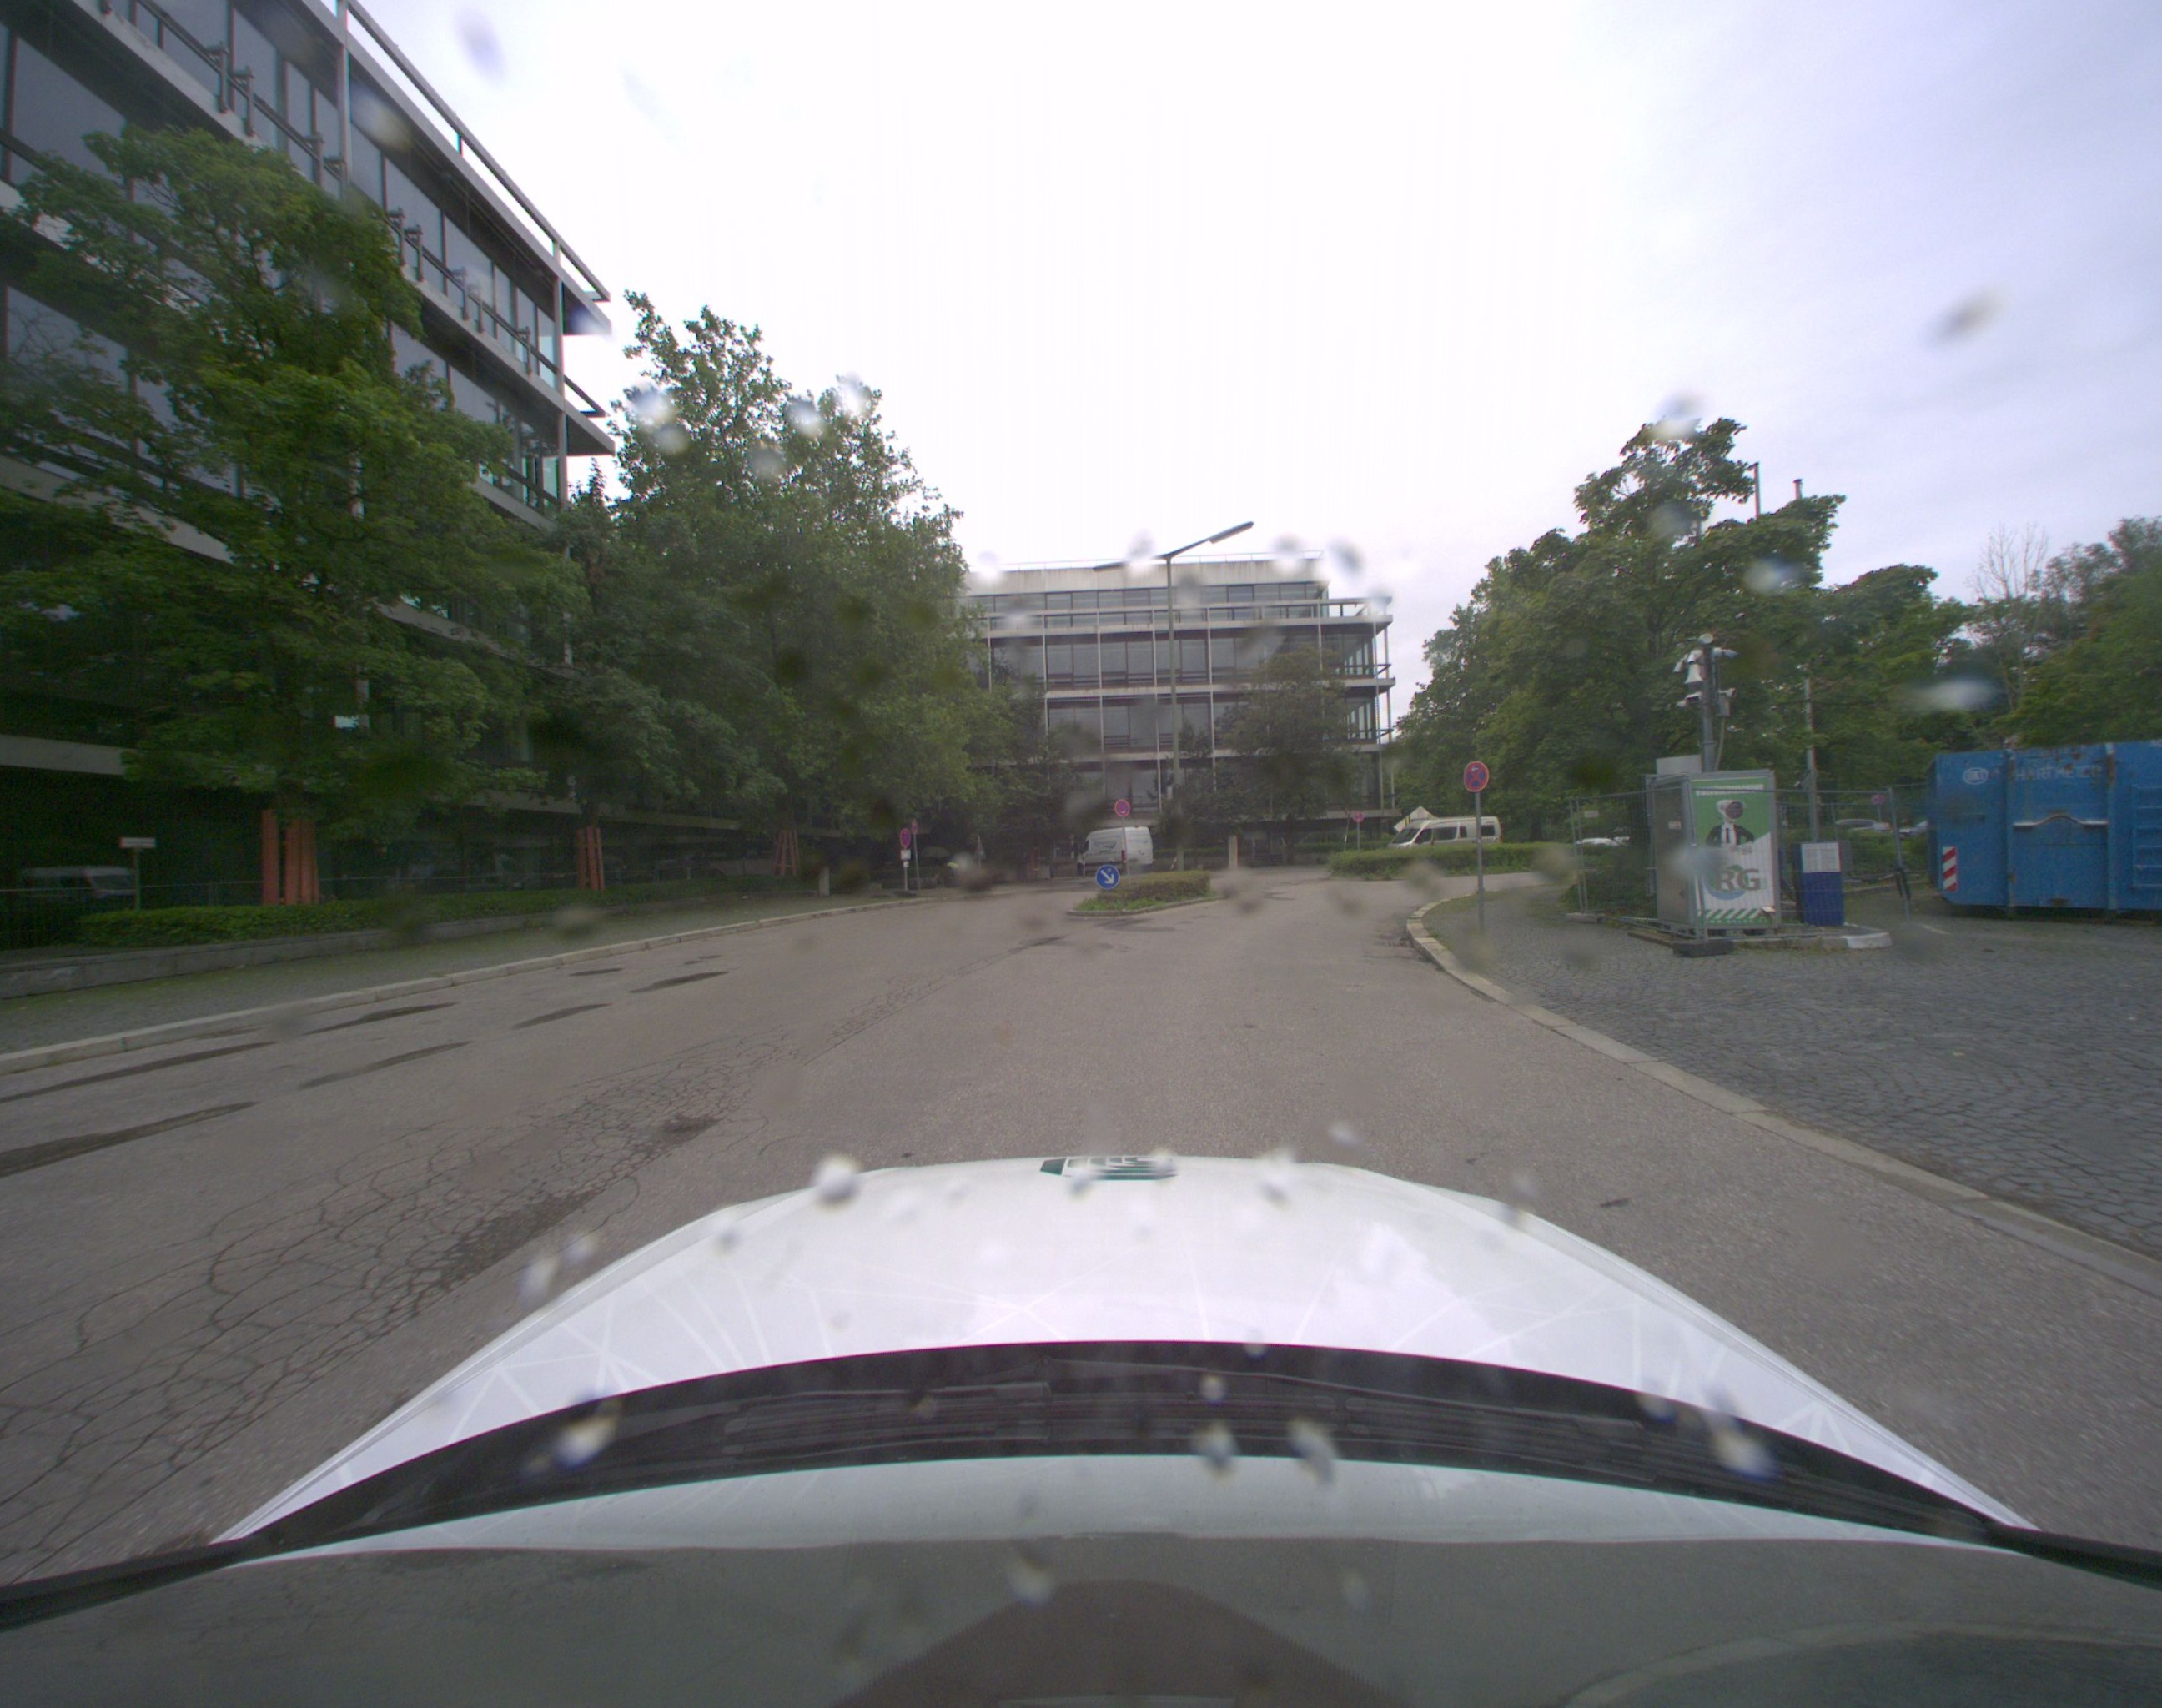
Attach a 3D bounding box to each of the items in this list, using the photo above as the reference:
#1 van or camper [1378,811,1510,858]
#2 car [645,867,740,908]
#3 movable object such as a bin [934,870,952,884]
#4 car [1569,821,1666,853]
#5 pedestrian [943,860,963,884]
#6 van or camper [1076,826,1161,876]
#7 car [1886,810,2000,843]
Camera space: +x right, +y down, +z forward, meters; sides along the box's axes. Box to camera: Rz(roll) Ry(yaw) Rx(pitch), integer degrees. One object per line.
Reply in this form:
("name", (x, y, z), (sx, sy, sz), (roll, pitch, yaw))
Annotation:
("van or camper", (19.493, -1.041, 43.804), (6.404, 2.281, 2.245), (-2, 0, -13))
("car", (-16.126, 1.350, 34.002), (1.899, 1.473, 3.863), (-2, 0, 3))
("movable object such as a bin", (-7.623, 1.262, 44.986), (0.831, 0.753, 0.573), (-2, 0, 4))
("car", (29.372, -0.913, 44.669), (3.971, 1.508, 2.001), (-3, 0, 2))
("pedestrian", (-7.066, 0.993, 45.015), (0.922, 1.278, 0.542), (-2, 0, 3))
("van or camper", (2.018, -0.104, 47.036), (2.166, 2.581, 6.485), (-2, -2, -24))
("car", (46.659, -1.460, 44.139), (3.971, 1.574, 2.001), (-3, 0, 2))
